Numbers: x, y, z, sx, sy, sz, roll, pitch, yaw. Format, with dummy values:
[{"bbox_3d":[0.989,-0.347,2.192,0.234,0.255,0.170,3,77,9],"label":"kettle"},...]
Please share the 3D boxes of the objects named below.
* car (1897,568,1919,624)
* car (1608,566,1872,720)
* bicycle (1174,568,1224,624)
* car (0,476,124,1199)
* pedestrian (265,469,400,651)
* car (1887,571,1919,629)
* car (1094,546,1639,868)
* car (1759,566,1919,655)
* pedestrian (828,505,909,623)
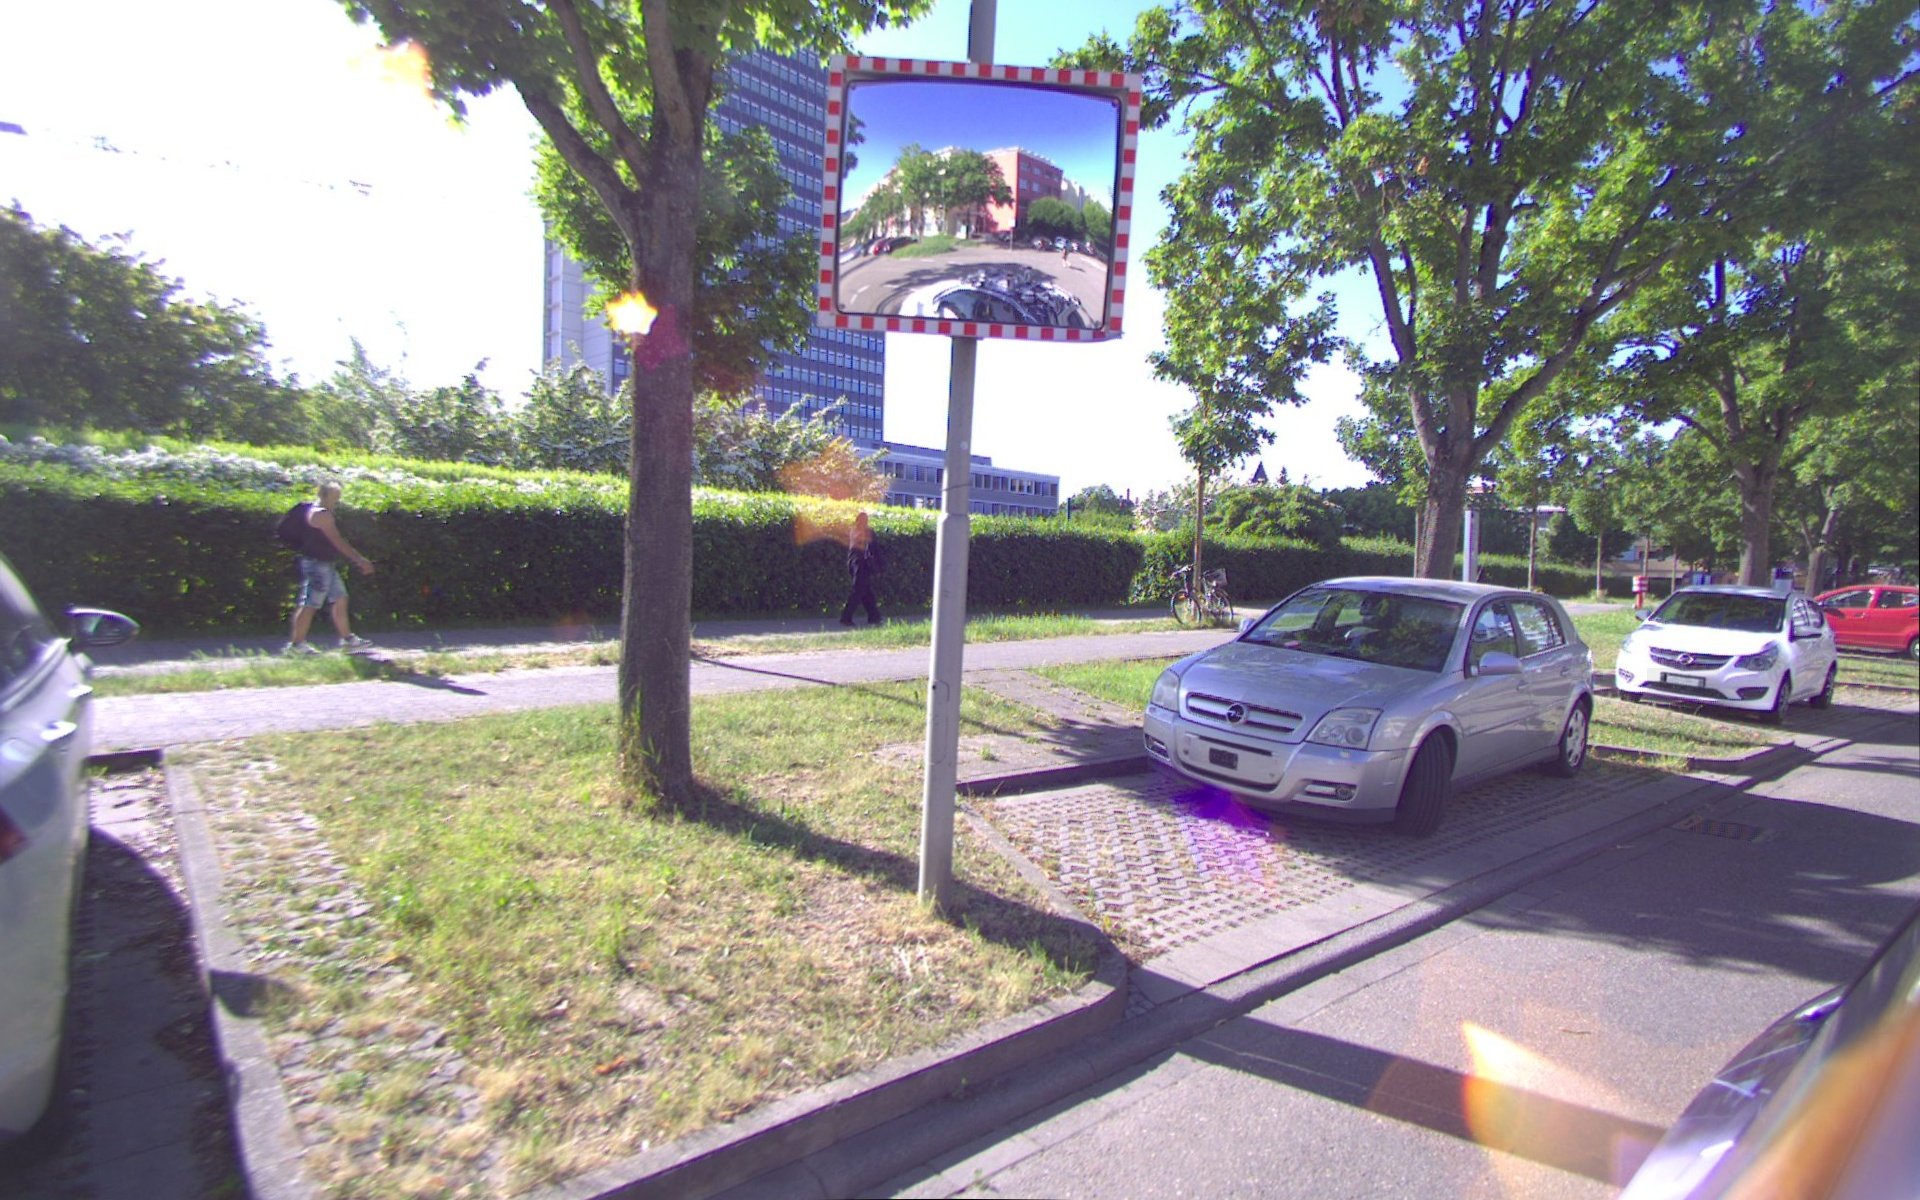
[{"bbox_3d":[28.994,0.065,27.893,1.823,1.564,4.214,0,5,-33],"label":"car"},{"bbox_3d":[9.633,0.425,12.415,3.697,1.511,1.648,0,5,-39],"label":"car"},{"bbox_3d":[3.994,-0.083,16.850,0.345,0.877,1.394,4,4,31],"label":"bicycle"},{"bbox_3d":[-3.370,0.402,2.767,1.613,1.445,4.103,0,7,-39],"label":"car"},{"bbox_3d":[-5.709,-0.361,9.214,0.922,1.561,0.607,0,3,-45],"label":"pedestrian"},{"bbox_3d":[26.935,0.136,26.518,1.823,1.496,3.478,0,5,-33],"label":"car"},{"bbox_3d":[3.141,0.477,7.237,4.547,1.511,1.812,-1,6,-44],"label":"car"},{"bbox_3d":[19.122,0.218,21.091,1.595,1.562,3.451,0,6,-33],"label":"car"},{"bbox_3d":[-1.299,-0.513,14.406,0.839,1.607,0.724,0,3,-44],"label":"pedestrian"}]
